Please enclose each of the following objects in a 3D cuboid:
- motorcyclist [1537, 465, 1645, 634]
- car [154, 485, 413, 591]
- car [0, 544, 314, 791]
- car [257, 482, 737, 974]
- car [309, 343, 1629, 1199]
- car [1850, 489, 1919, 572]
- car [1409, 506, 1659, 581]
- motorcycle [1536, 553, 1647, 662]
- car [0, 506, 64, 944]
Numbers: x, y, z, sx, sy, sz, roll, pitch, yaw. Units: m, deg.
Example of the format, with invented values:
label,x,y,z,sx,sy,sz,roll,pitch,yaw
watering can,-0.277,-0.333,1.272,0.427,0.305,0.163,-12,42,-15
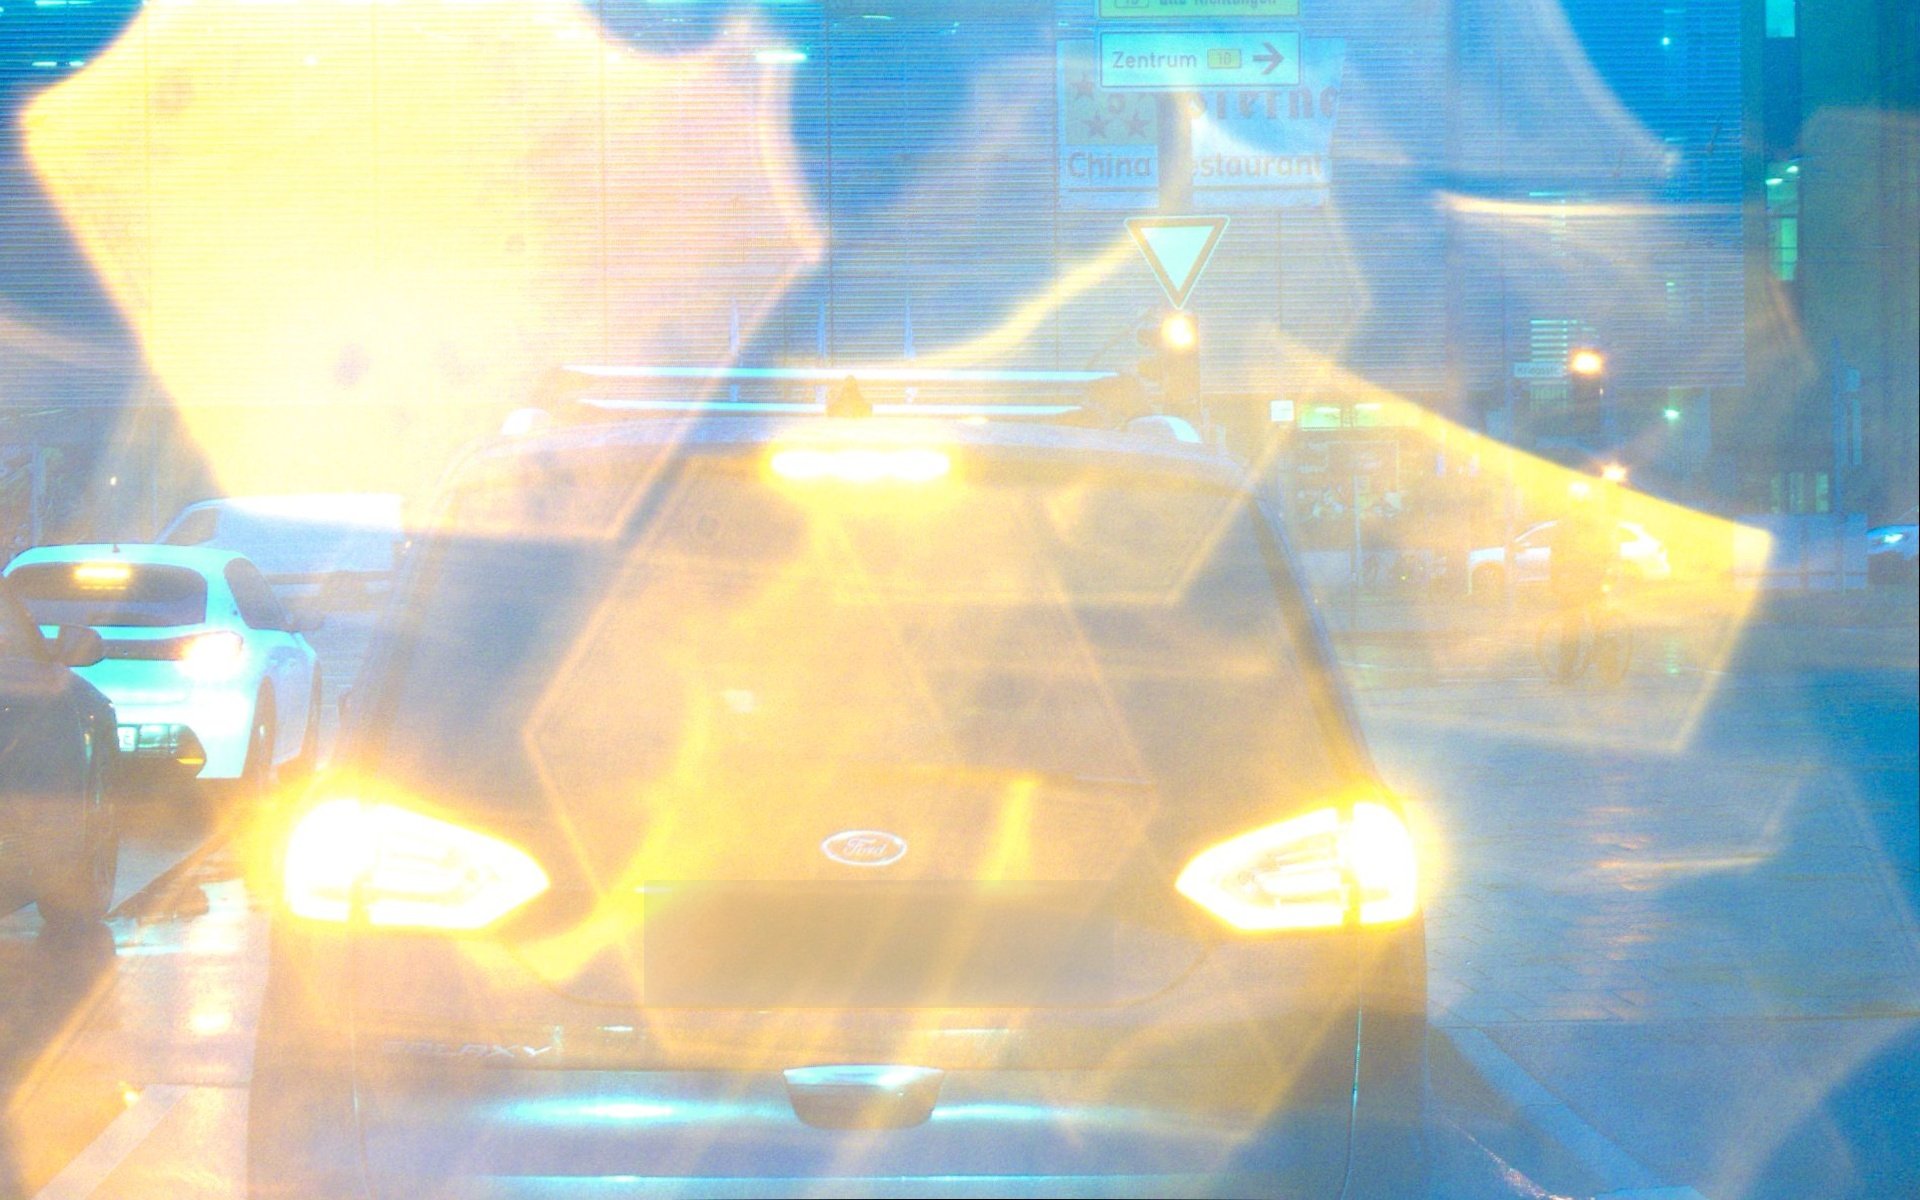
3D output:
label,x,y,z,sx,sy,sz,roll,pitch,yaw
motorcyclist,5.804,-0.467,31.659,0.868,1.529,1.108,0,1,5
car,-13.257,-1.229,67.606,4.838,1.993,1.800,-1,1,-7
car,-4.546,0.308,19.531,1.540,1.247,4.069,0,1,-8
car,-1.754,0.419,13.716,1.636,1.691,3.671,0,1,-5
car,-0.095,0.502,6.729,1.735,1.732,4.247,2,1,-3
car,19.803,-1.373,66.974,4.418,1.589,1.800,-1,1,-7
car,11.069,-1.101,66.400,4.418,1.385,1.800,-1,1,-7
motorcycle,5.803,0.058,31.654,0.853,0.968,1.581,0,1,5
car,-4.264,0.469,11.516,1.752,1.568,4.001,-1,1,-4
